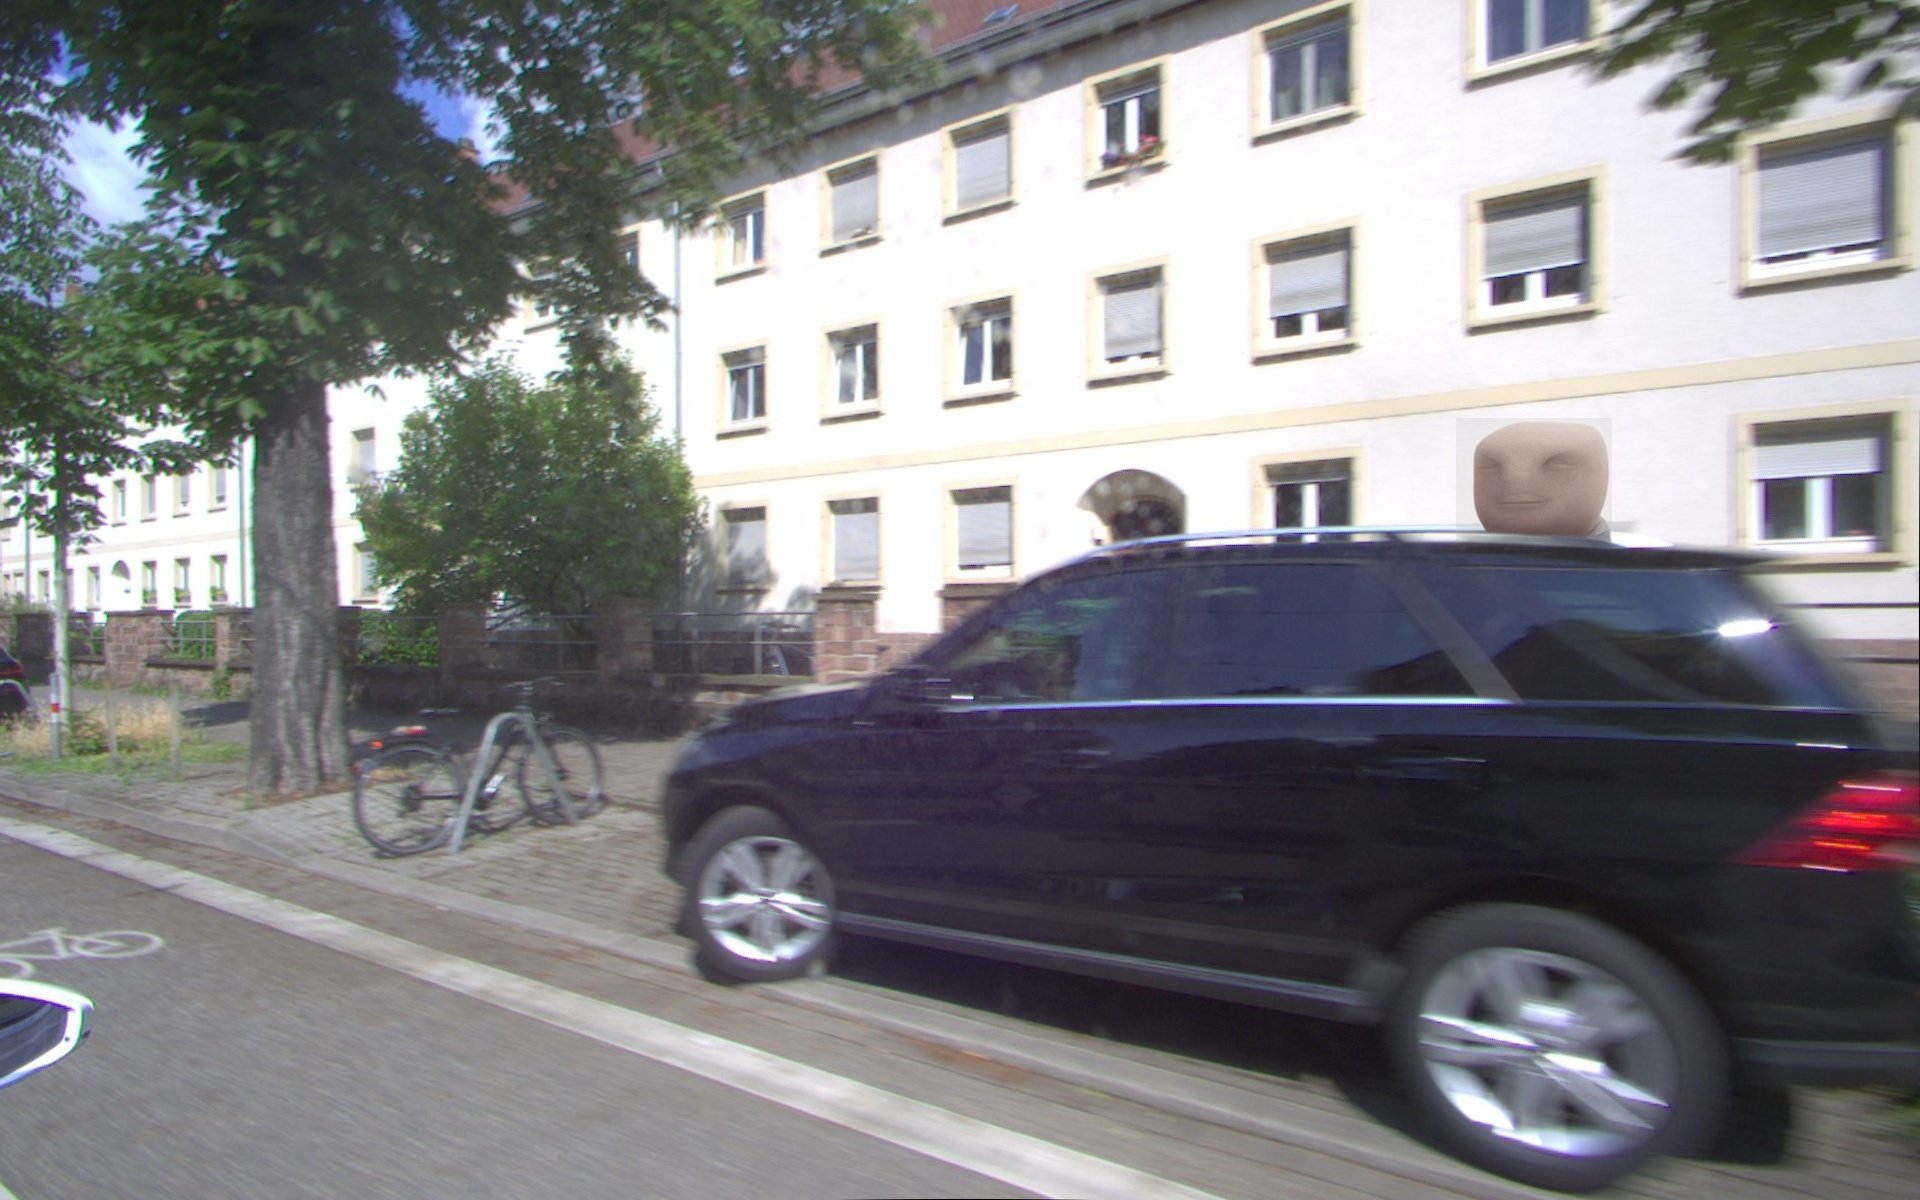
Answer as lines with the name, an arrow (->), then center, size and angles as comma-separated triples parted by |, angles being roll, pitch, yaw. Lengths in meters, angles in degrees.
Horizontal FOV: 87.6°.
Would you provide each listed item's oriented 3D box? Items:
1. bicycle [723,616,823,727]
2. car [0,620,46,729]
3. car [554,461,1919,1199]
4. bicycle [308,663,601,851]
bicycle -> -2.264, 0.831, 12.032 | 1.439, 1.261, 0.302 | -1, 0, 37
car -> -15.191, 1.038, 14.611 | 4.137, 1.497, 1.704 | -1, -3, 33
car -> 0.606, 0.634, 4.056 | 4.665, 1.806, 1.823 | 0, 0, 32
bicycle -> -3.366, 0.987, 6.827 | 0.629, 1.020, 1.704 | 0, 0, 33
